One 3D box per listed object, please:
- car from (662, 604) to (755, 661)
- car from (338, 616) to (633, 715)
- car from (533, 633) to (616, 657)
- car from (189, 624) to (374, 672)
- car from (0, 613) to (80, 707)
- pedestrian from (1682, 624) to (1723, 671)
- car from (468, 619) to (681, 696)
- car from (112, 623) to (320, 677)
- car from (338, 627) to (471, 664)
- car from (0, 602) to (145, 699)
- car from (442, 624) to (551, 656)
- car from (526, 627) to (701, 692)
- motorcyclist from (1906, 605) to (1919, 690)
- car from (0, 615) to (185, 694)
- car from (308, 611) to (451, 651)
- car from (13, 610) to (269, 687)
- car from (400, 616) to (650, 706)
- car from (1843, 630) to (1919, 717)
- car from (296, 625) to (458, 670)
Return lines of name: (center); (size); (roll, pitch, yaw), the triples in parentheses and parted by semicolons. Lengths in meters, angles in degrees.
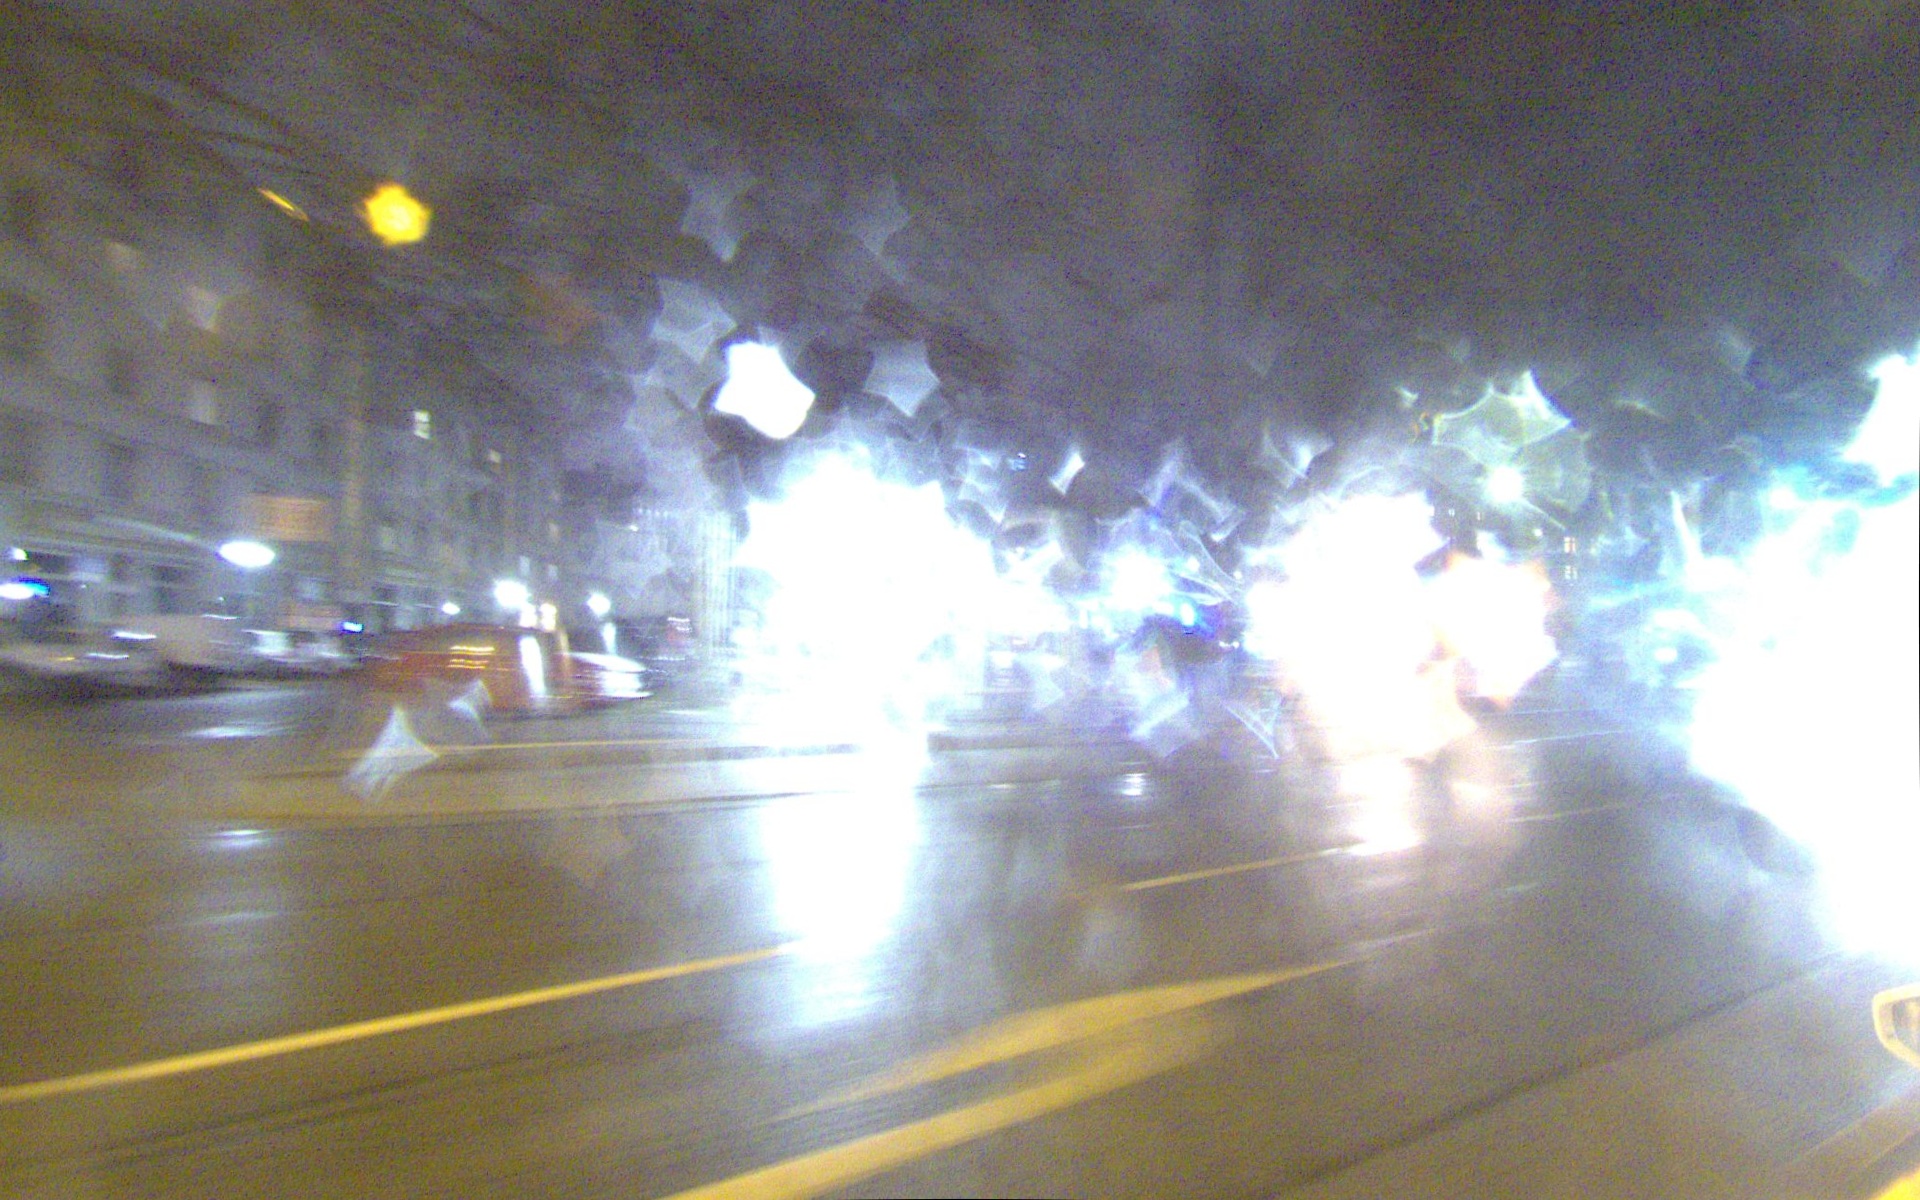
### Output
car: (-12.361, 1.616, 49.622); (4.275, 2.767, 1.717); (1, -2, -9)
car: (-7.338, 1.011, 15.896); (3.847, 1.450, 1.717); (1, -2, -9)
car: (-23.592, 2.751, 61.644); (4.413, 1.462, 1.868); (1, -2, -10)
car: (-21.396, 1.520, 31.844); (4.413, 1.462, 1.868); (1, -2, -10)
car: (-18.204, 0.993, 17.141); (4.413, 1.560, 1.868); (1, -2, -10)
pedestrian: (28.214, 1.812, 38.177); (0.950, 1.759, 0.772); (0, -2, 5)
car: (-7.974, 1.196, 21.099); (3.847, 1.540, 1.717); (1, -2, -9)
car: (-21.355, 1.442, 29.027); (4.413, 1.462, 1.868); (1, -2, -10)
car: (-22.948, 1.885, 41.680); (4.413, 1.462, 1.868); (1, -2, -10)
car: (-19.010, 0.954, 19.603); (4.413, 1.818, 1.868); (1, -2, -10)
car: (-22.466, 1.948, 48.857); (4.413, 1.462, 1.868); (1, -2, -10)
car: (-8.587, 1.471, 25.180); (3.847, 1.540, 1.717); (1, -2, -9)
motorcyclist: (23.581, 1.155, 24.309); (0.970, 2.040, 0.690); (1, -2, -27)
car: (-19.921, 1.172, 21.866); (4.413, 1.634, 1.868); (1, -2, -10)
car: (-22.579, 1.217, 39.216); (4.413, 1.462, 1.868); (1, -2, -10)
car: (-19.729, 1.177, 24.417); (4.413, 1.783, 1.868); (1, -2, -10)
car: (-7.812, 1.103, 18.392); (3.847, 1.540, 1.717); (1, -2, -9)
car: (18.725, 1.331, 19.088); (4.721, 1.519, 1.841); (1, -2, -35)
car: (-19.981, 1.622, 34.598); (4.413, 1.462, 1.868); (1, -2, -10)
